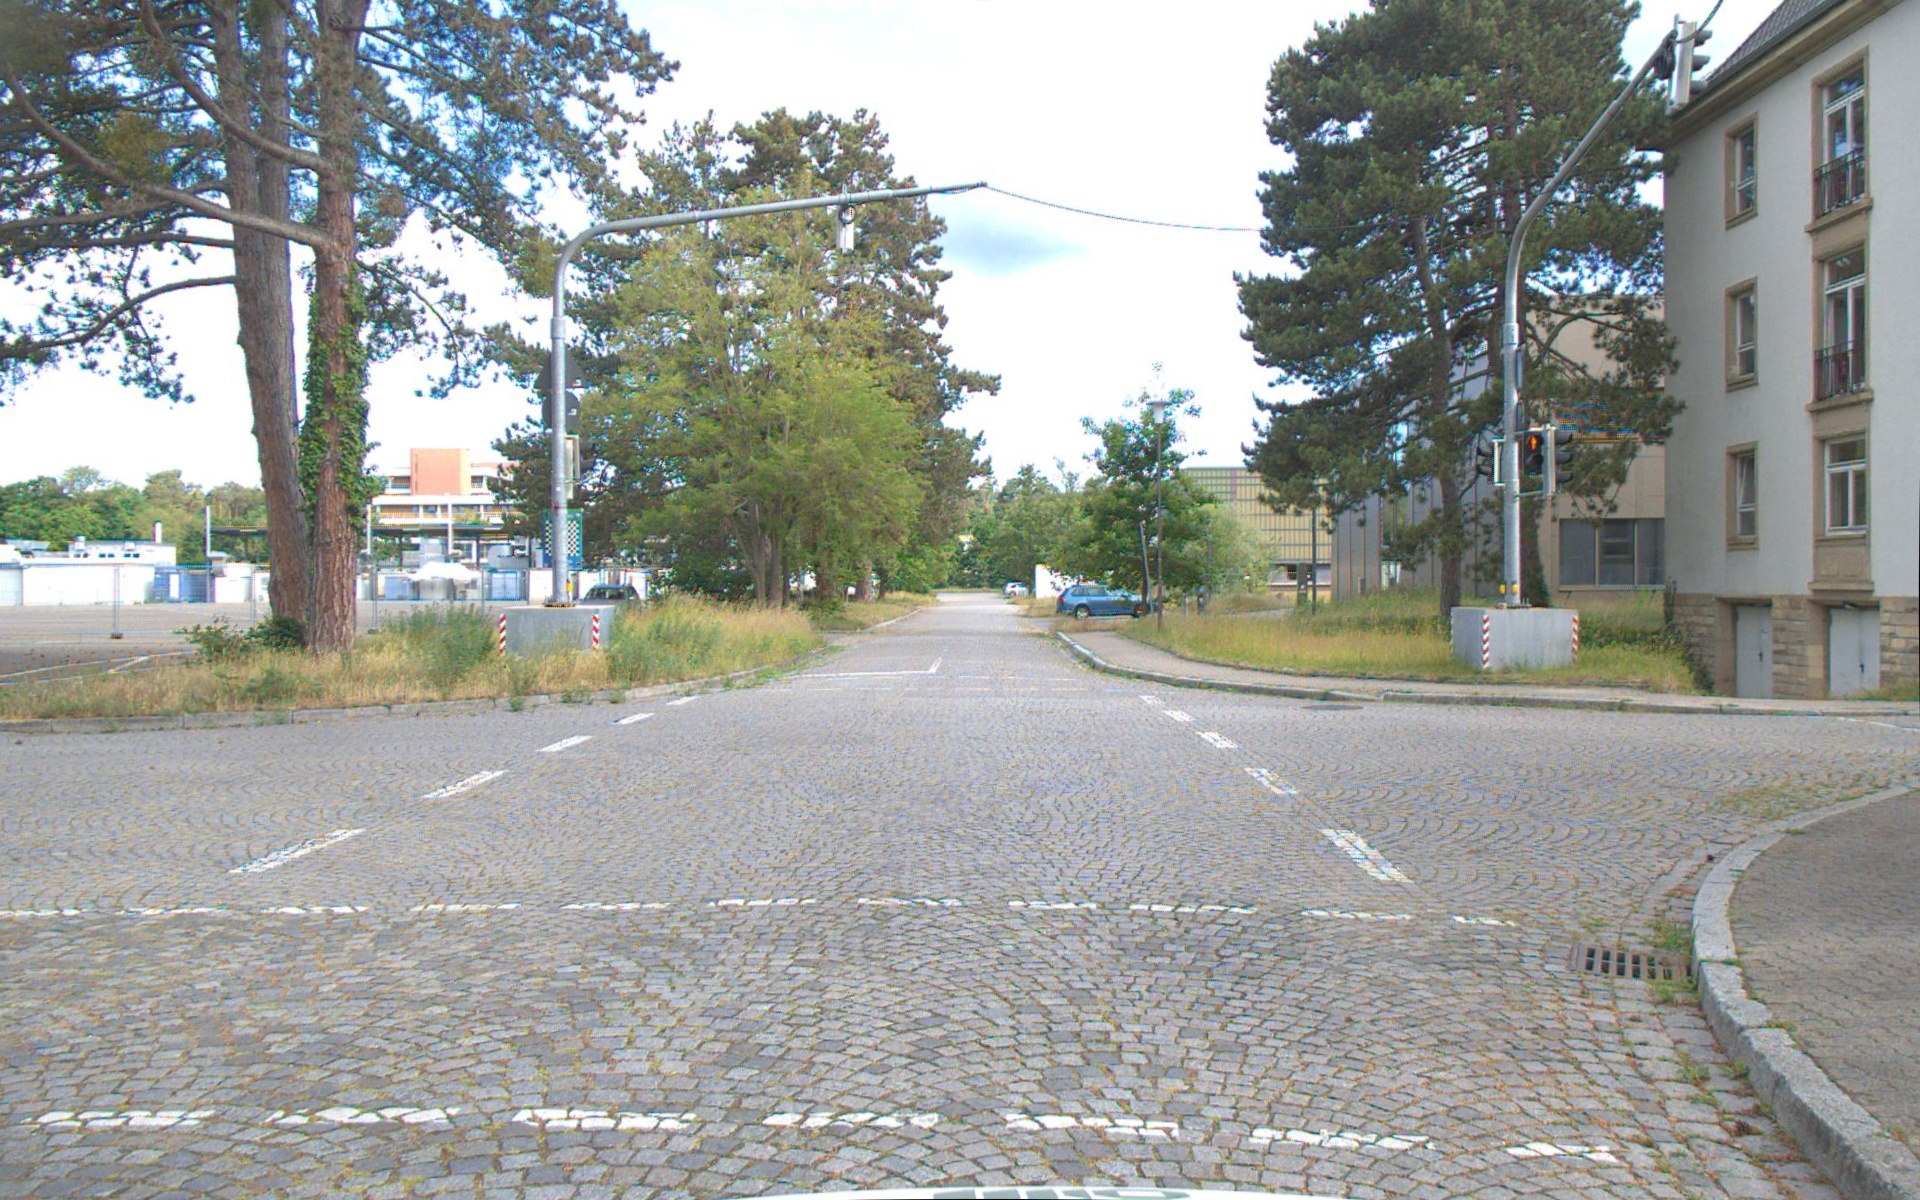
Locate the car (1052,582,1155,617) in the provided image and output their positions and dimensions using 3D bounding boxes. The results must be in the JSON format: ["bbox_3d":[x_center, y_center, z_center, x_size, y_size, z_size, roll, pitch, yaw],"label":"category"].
[{"bbox_3d":[6.185,-0.048,71.691,4.256,1.447,2.000,0,1,-2],"label":"car"}]

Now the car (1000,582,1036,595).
[{"bbox_3d":[6.647,-1.363,188.781,3.909,1.422,1.998,0,1,-5],"label":"car"}]

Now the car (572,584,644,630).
[{"bbox_3d":[-12.074,0.224,56.949,1.580,1.513,4.001,0,1,1],"label":"car"}]
